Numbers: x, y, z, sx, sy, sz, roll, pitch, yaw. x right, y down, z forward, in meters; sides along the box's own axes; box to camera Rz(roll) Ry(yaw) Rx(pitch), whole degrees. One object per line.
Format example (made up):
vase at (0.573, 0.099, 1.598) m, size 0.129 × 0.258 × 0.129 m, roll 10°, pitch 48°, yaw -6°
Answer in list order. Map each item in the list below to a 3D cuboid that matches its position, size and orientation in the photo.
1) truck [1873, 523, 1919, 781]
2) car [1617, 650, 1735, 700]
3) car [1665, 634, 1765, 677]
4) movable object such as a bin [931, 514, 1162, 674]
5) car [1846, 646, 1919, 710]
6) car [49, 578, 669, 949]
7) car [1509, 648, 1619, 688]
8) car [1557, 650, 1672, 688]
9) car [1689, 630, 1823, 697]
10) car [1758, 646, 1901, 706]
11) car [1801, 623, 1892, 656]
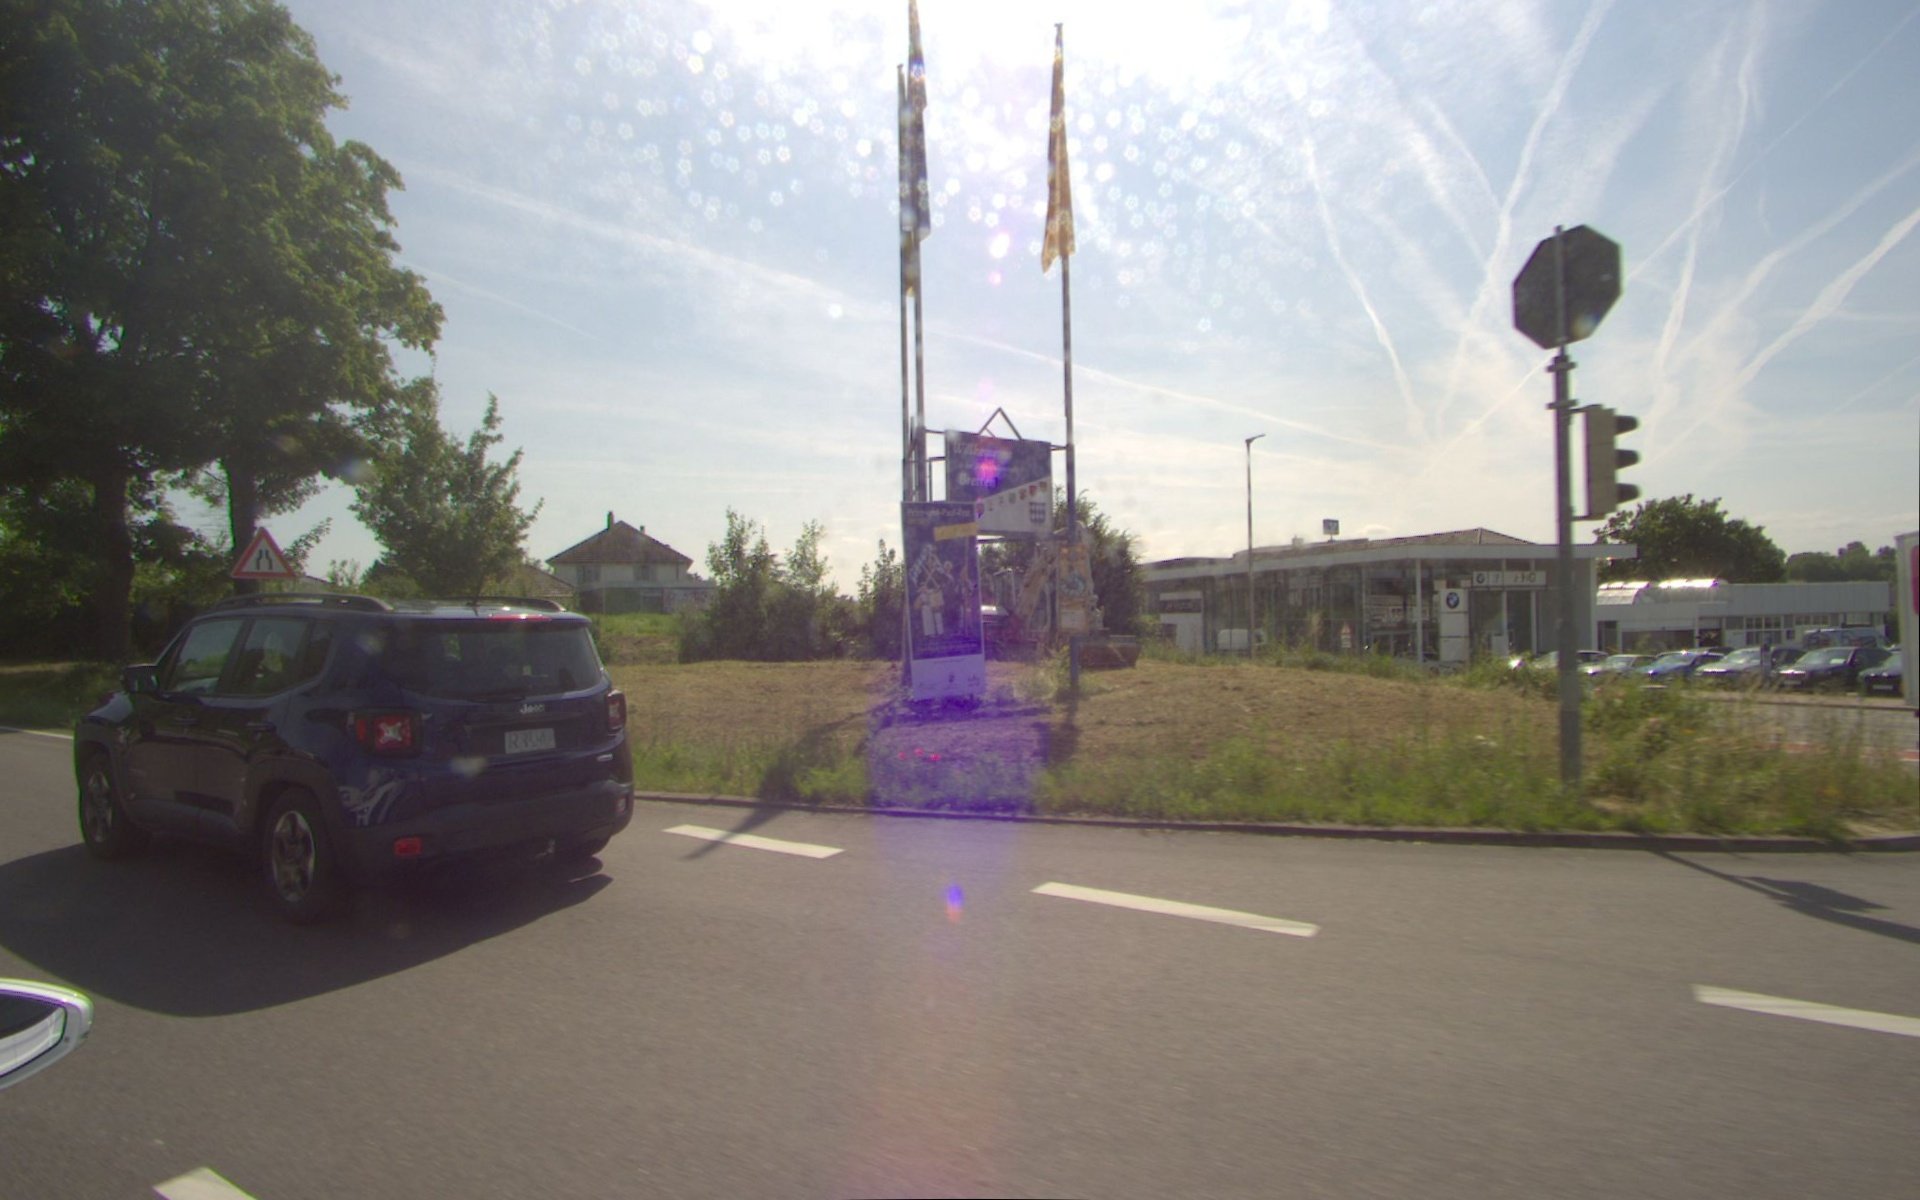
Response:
truck at (13.971, 0.402, 10.165) m, size 2.717 × 3.670 × 9.703 m, roll -1°, pitch -5°, yaw 16°
car at (27.177, 2.804, 38.013) m, size 3.936 × 1.573 × 1.992 m, roll -2°, pitch 1°, yaw -25°
car at (33.675, 2.430, 44.674) m, size 4.018 × 1.639 × 2.000 m, roll -2°, pitch 1°, yaw -27°
movable object such as a bin at (1.773, -0.129, 23.912) m, size 2.852 × 3.250 × 6.686 m, roll -2°, pitch 0°, yaw -21°
car at (29.591, 2.367, 30.790) m, size 3.935 × 1.639 × 2.084 m, roll -2°, pitch 1°, yaw -24°
car at (-3.891, 0.766, 6.328) m, size 3.944 × 1.676 × 1.766 m, roll -1°, pitch 1°, yaw 33°
car at (25.645, 2.845, 42.546) m, size 3.932 × 1.391 × 1.995 m, roll -2°, pitch 0°, yaw -20°
car at (26.316, 2.751, 40.281) m, size 3.933 × 1.205 × 1.994 m, roll -2°, pitch 0°, yaw -22°
car at (28.110, 2.168, 35.369) m, size 4.015 × 2.062 × 2.061 m, roll -2°, pitch 1°, yaw -24°
car at (28.757, 2.465, 33.140) m, size 4.015 × 1.639 × 2.097 m, roll -2°, pitch 1°, yaw -24°
car at (49.600, 2.201, 56.040) m, size 4.116 × 1.639 × 2.005 m, roll -2°, pitch 1°, yaw -18°
